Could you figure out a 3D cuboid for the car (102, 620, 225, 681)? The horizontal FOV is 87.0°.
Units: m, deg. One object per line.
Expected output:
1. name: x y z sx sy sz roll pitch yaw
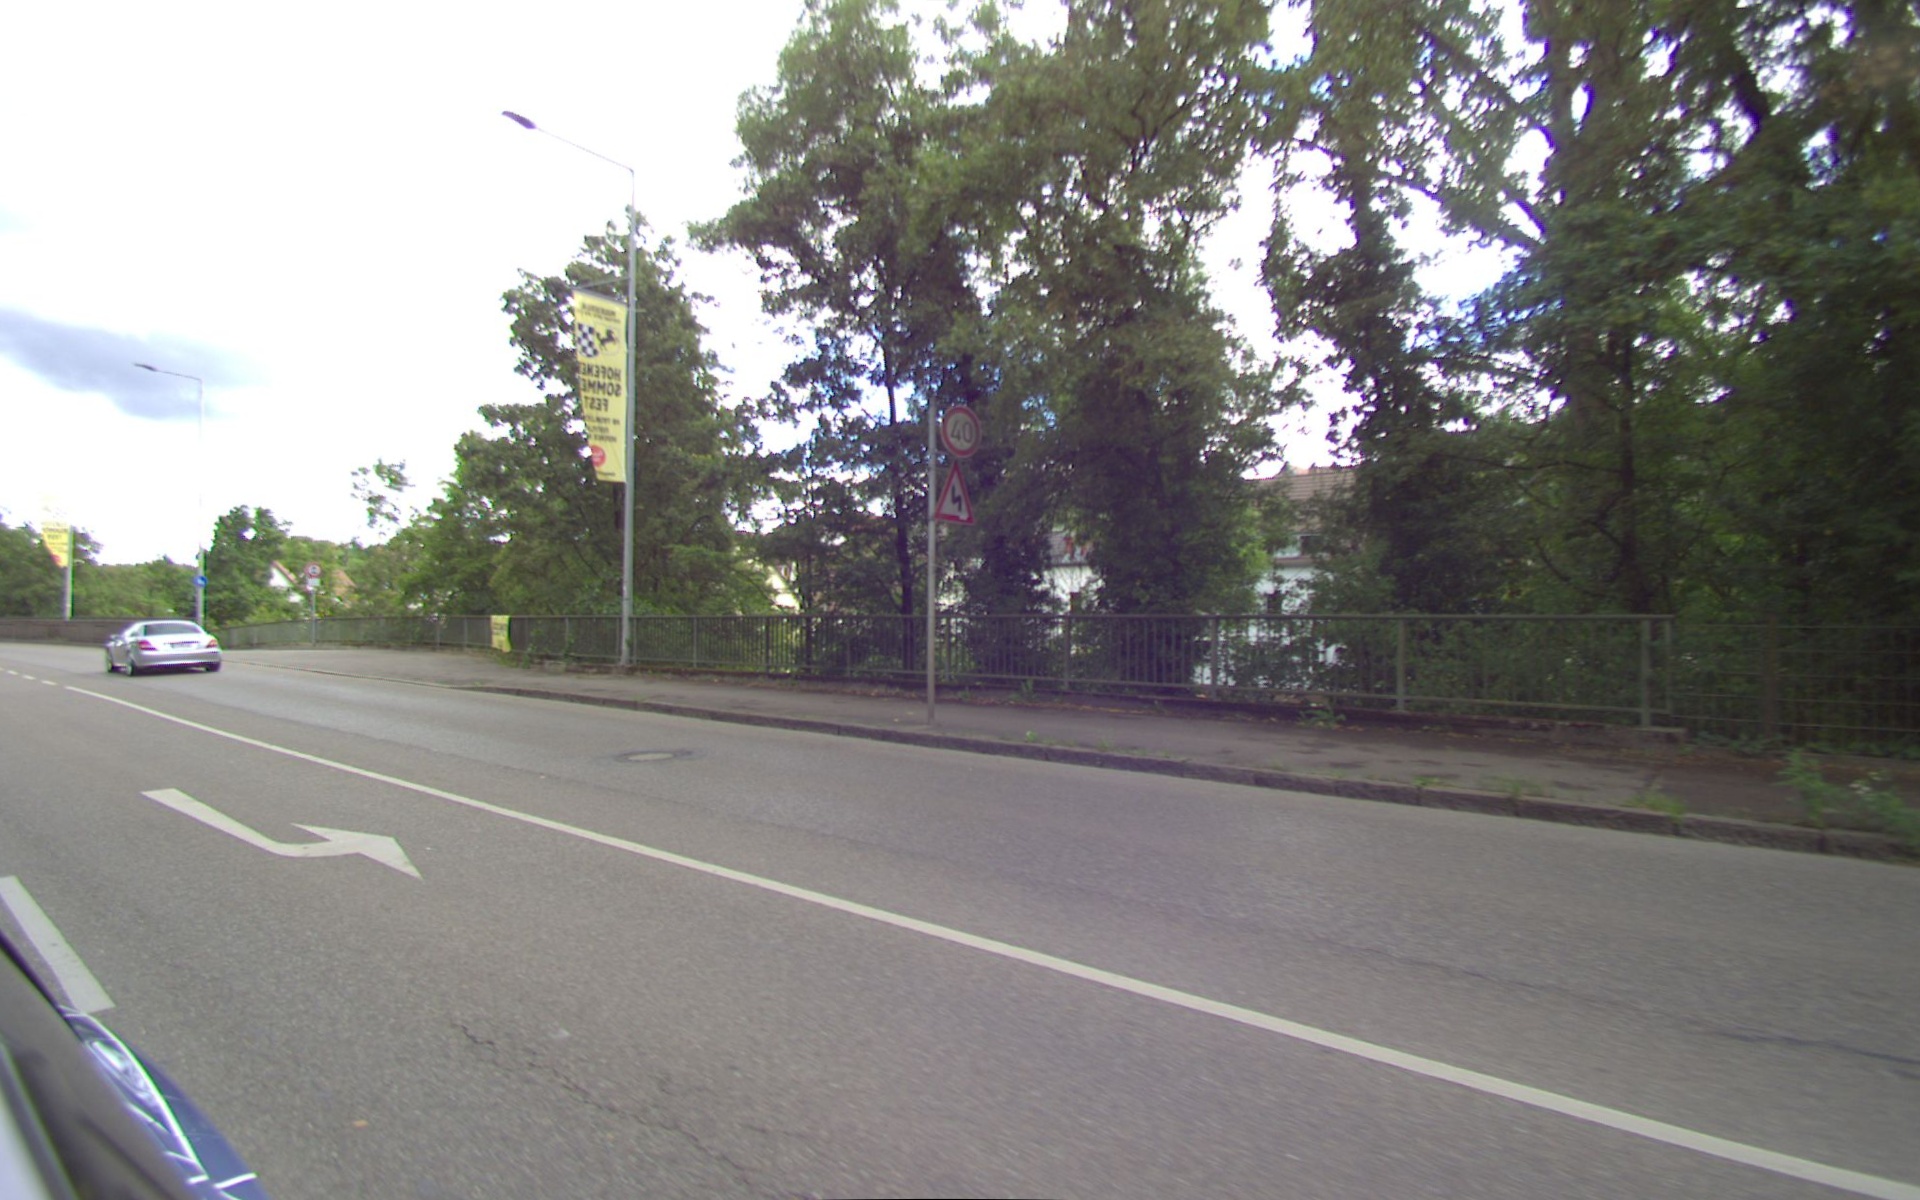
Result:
1. car: -19.799 1.198 25.115 3.694 1.347 1.740 -1 0 41
